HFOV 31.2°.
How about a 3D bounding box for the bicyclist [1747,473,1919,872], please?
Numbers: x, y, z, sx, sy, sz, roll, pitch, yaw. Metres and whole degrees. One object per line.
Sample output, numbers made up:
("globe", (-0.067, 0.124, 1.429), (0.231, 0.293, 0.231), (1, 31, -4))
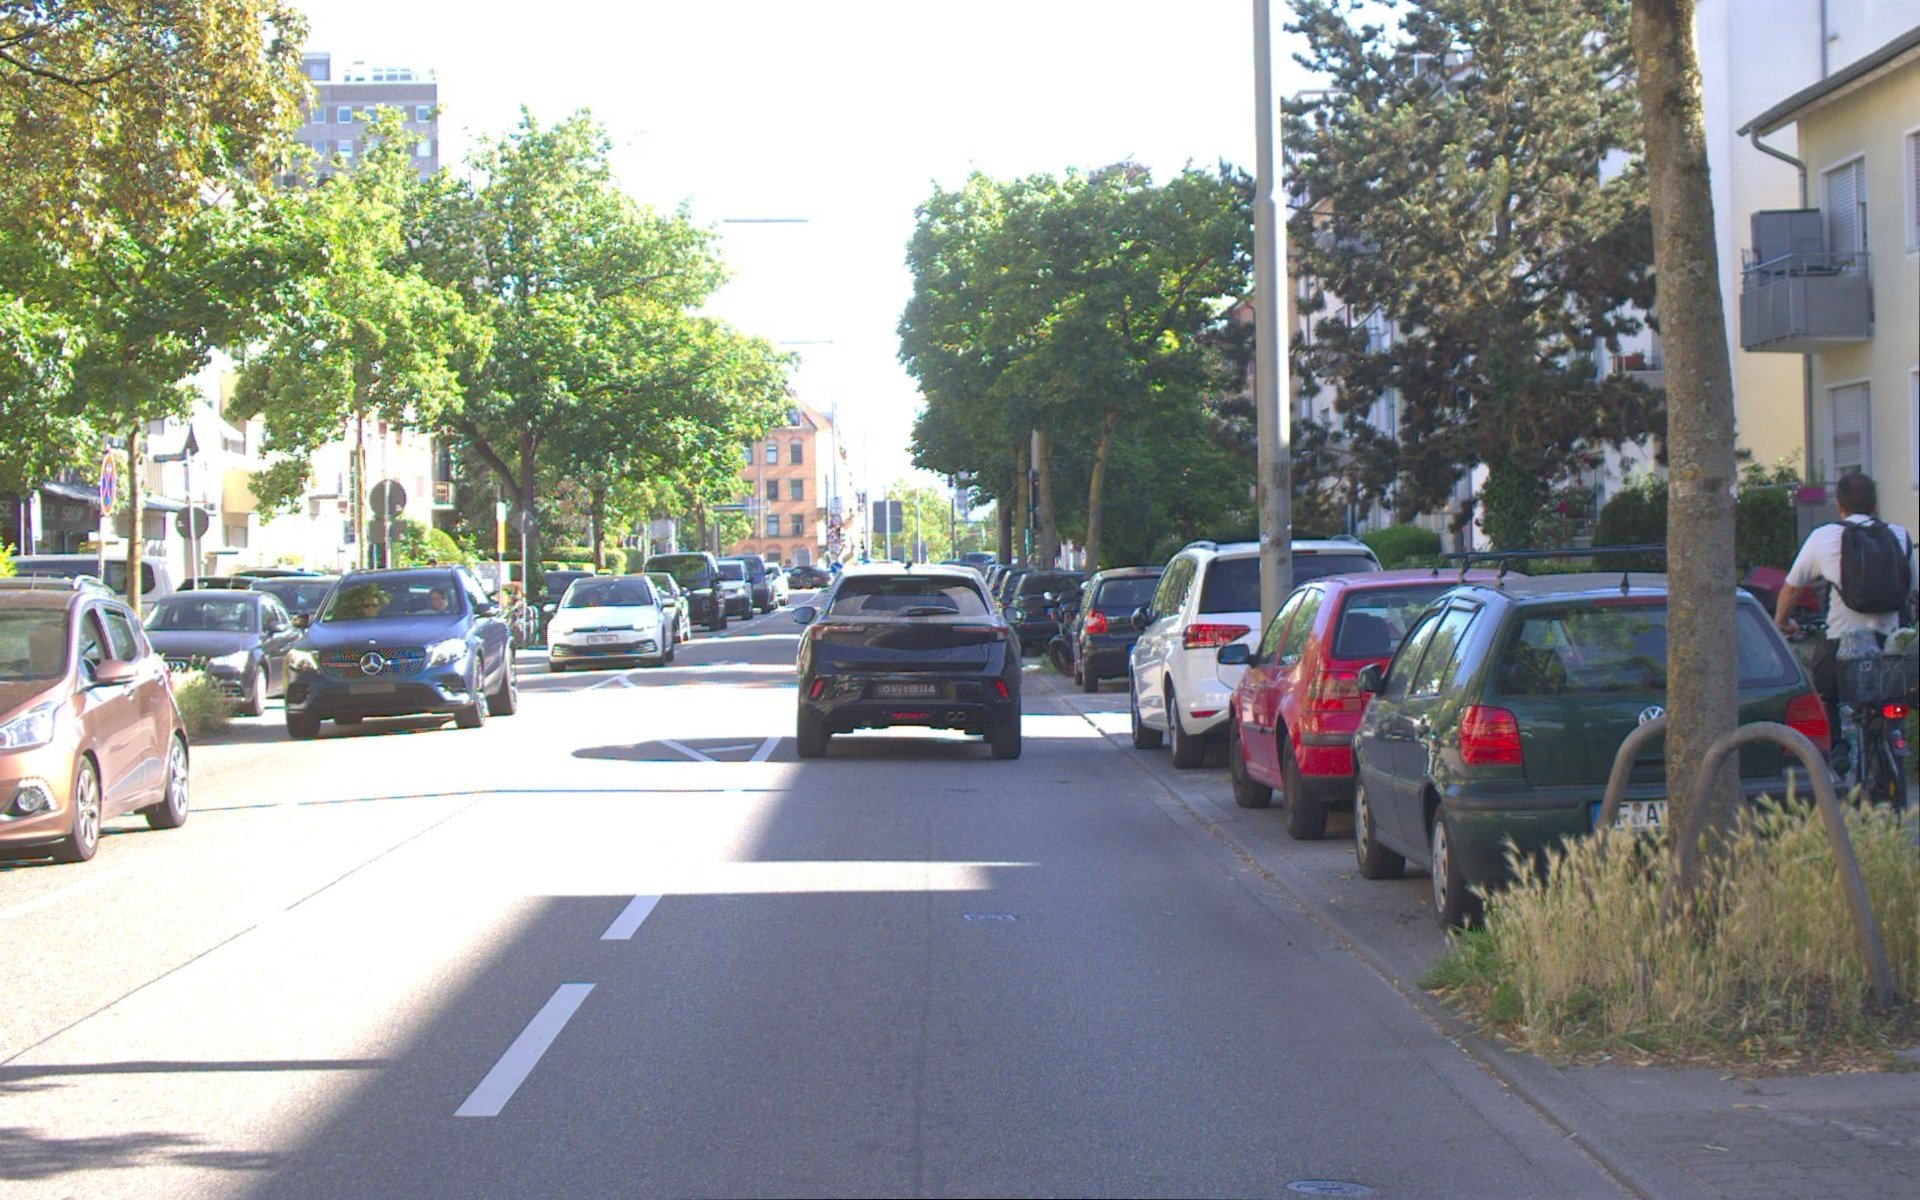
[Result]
("bicyclist", (4.195, 0.317, 16.073), (0.724, 1.787, 1.016), (-2, 1, -1))

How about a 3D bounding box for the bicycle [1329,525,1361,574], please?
("bicycle", (10.461, -1.384, 93.530), (0.591, 1.283, 1.689), (-4, 1, 0))

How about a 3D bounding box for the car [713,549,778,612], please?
("car", (-7.033, -0.658, 112.892), (1.803, 1.904, 4.712), (-4, 1, -1))

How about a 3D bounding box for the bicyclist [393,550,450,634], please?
("bicyclist", (-11.998, -0.183, 76.586), (1.052, 1.818, 0.660), (-1, 0, 11))

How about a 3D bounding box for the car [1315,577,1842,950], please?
("car", (2.550, 0.610, 14.964), (1.531, 1.351, 3.718), (-2, 1, -1))

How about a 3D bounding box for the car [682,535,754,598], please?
("car", (-7.140, -1.000, 101.864), (1.815, 1.737, 4.493), (-3, 1, -1))

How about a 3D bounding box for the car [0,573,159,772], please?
("car", (-8.309, 0.576, 30.231), (1.624, 1.583, 4.348), (1, 1, -2))

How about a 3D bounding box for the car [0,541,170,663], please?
("car", (-14.892, 0.015, 54.433), (4.314, 1.872, 1.880), (-1, 1, -26))

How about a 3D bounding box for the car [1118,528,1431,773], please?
("car", (2.312, 0.330, 26.328), (1.768, 1.653, 4.341), (-2, 1, -2))

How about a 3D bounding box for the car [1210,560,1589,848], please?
("car", (2.418, 0.517, 19.682), (1.531, 1.444, 3.718), (-2, 1, -2))

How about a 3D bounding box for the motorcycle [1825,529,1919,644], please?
("motorcycle", (11.419, -0.187, 42.735), (0.636, 1.371, 2.426), (-2, 1, -1))

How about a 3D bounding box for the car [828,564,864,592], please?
("car", (-6.180, -1.192, 186.706), (1.771, 1.447, 3.885), (-1, 1, 1))

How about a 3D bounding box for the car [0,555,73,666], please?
("car", (-15.433, 0.164, 51.519), (3.907, 1.639, 1.680), (-1, 1, -25))

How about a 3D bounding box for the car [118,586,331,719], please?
("car", (-8.491, 0.573, 39.975), (1.636, 1.412, 4.090), (1, 1, -1))

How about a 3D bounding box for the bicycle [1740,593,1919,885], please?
("bicycle", (4.241, 0.612, 16.093), (0.698, 1.242, 1.822), (-2, 1, -1))

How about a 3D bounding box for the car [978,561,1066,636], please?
("car", (1.280, -0.045, 69.603), (1.692, 1.423, 4.147), (-2, 1, 2))

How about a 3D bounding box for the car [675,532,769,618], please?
("car", (-5.841, -0.629, 84.880), (2.016, 1.945, 5.179), (-3, 1, -2))

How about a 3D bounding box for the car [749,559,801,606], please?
("car", (-7.082, -0.694, 131.998), (1.806, 1.642, 4.673), (-3, 1, -2))

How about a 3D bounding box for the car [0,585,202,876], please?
("car", (-5.465, 0.686, 19.450), (1.581, 1.446, 3.745), (-2, 1, -2))

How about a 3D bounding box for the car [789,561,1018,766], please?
("car", (-0.461, 0.472, 28.136), (1.745, 1.568, 3.558), (0, 0, -1))

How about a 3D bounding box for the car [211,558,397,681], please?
("car", (-8.655, 0.222, 45.639), (1.678, 1.549, 4.008), (0, 1, 0))

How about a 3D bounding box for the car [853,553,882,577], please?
("car", (-5.708, -2.157, 212.530), (1.771, 1.447, 3.886), (-1, 1, -2))

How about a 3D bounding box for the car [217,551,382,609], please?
("car", (-17.312, -0.521, 90.282), (3.987, 1.481, 1.881), (0, 1, -1))

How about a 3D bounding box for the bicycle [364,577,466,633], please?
("bicycle", (-12.149, 0.118, 76.639), (2.186, 1.189, 0.449), (-1, 0, 10))

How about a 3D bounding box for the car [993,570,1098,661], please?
("car", (1.415, 0.229, 58.087), (1.586, 1.391, 4.454), (-3, 1, 0))

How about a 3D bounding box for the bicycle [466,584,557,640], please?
("bicycle", (-9.255, 0.249, 70.925), (1.933, 1.131, 0.461), (0, 1, 27))

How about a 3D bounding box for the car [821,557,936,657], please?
("car", (-1.350, 0.089, 58.111), (1.830, 1.573, 3.839), (-1, 1, 0))

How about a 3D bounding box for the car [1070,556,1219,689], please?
("car", (2.215, 0.245, 42.025), (1.620, 1.494, 3.649), (-2, 1, 1))

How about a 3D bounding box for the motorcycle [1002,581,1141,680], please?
("motorcycle", (1.493, 0.405, 46.403), (0.697, 1.267, 2.432), (-3, 1, -28))

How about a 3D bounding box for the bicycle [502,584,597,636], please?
("bicycle", (-8.769, 0.207, 73.413), (2.025, 1.088, 0.462), (0, 1, 22))

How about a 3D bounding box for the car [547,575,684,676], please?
("car", (-5.400, 0.369, 54.305), (1.733, 1.408, 4.192), (-3, 1, -1))

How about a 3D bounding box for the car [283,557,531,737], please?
("car", (-5.548, 0.420, 34.999), (1.836, 1.608, 4.401), (-3, 1, -1))
